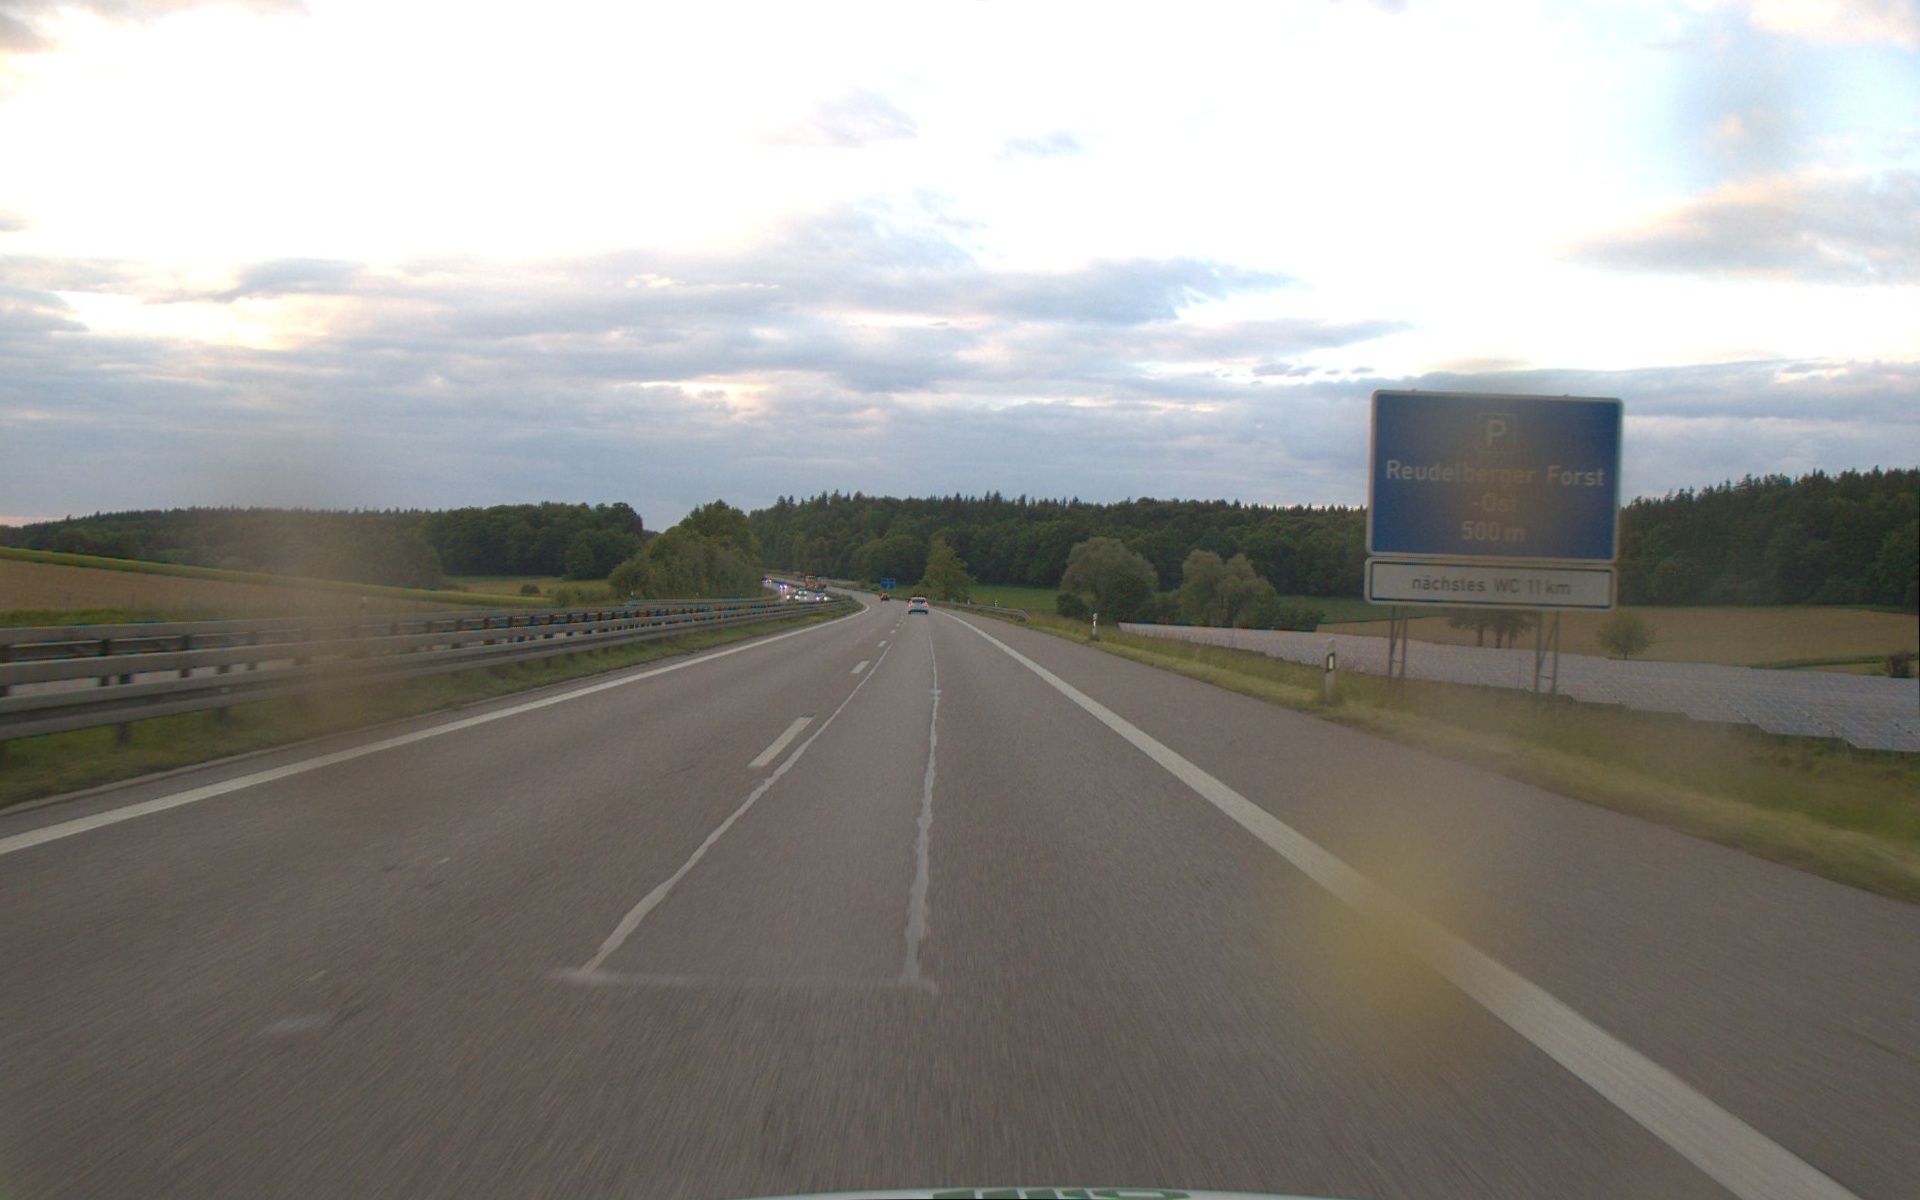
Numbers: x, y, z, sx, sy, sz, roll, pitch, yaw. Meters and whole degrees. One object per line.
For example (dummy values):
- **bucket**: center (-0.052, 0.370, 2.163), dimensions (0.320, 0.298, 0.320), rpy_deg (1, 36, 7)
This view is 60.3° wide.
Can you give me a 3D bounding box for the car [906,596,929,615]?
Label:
- **car**: center (-3.827, 0.501, 149.359), dimensions (1.913, 1.558, 4.078), rpy_deg (3, 1, -3)
